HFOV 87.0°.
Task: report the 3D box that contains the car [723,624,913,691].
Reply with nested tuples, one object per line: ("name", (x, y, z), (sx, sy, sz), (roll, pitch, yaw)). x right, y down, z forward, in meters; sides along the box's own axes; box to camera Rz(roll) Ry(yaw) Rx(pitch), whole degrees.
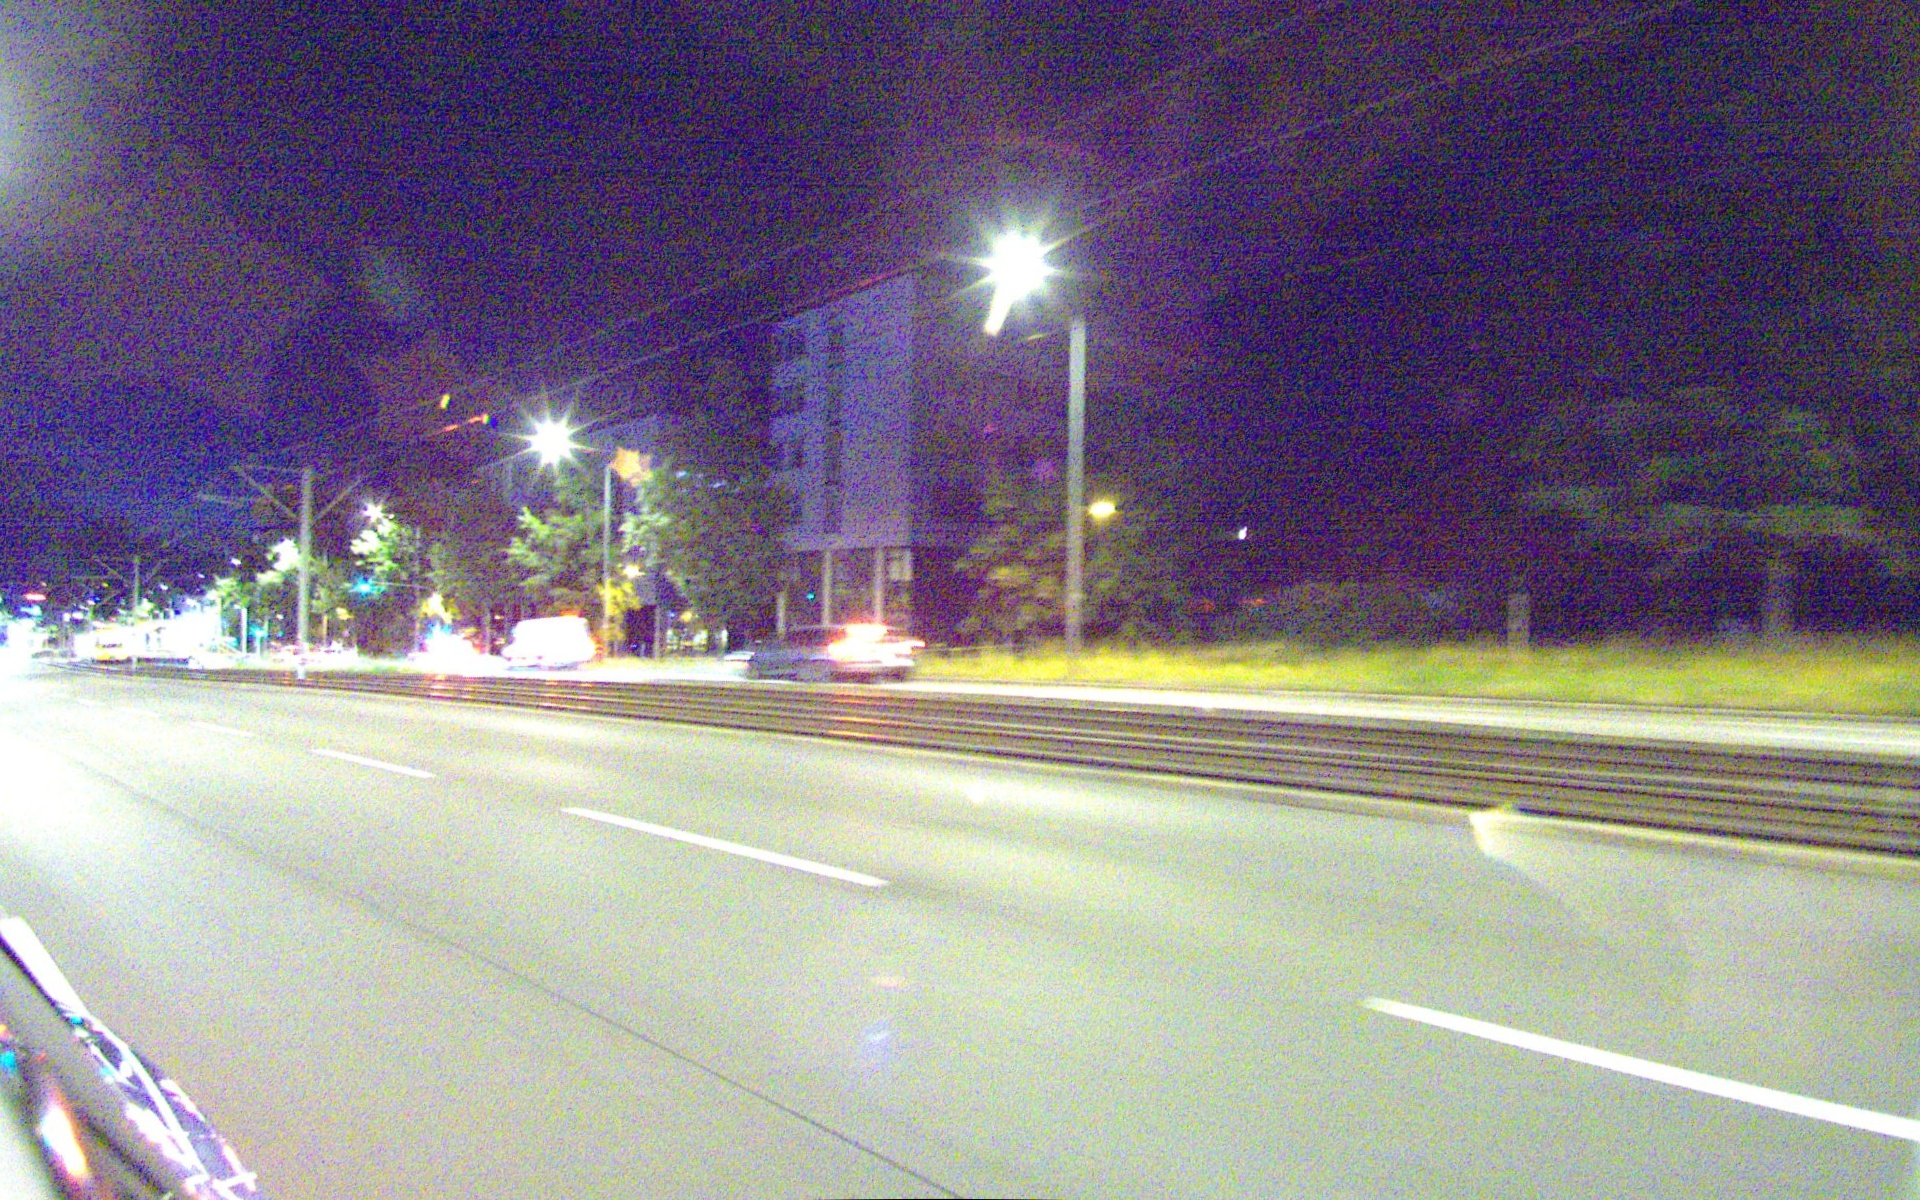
("car", (-3.555, 1.360, 24.707), (4.955, 1.439, 1.846), (-2, -2, 42))

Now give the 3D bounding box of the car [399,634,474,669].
("car", (-23.259, 2.271, 44.910), (4.338, 1.451, 1.602), (-2, -4, 44))

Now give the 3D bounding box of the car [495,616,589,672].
("car", (-21.793, 2.281, 52.600), (2.120, 2.691, 6.969), (5, -5, -43))

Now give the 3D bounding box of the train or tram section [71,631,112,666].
("train or tram section", (-104.046, 5.828, 121.077), (2.706, 3.875, 19.379), (0, -3, -44))

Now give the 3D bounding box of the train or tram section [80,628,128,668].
("train or tram section", (-90.924, 5.098, 107.337), (2.726, 3.856, 18.683), (1, -3, -44))

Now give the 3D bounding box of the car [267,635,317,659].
("car", (-44.613, 3.120, 67.595), (4.173, 1.508, 1.766), (-1, -1, 42))

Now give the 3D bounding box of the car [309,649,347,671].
("car", (-46.669, 4.396, 74.678), (1.641, 1.528, 3.914), (0, -2, -44))
